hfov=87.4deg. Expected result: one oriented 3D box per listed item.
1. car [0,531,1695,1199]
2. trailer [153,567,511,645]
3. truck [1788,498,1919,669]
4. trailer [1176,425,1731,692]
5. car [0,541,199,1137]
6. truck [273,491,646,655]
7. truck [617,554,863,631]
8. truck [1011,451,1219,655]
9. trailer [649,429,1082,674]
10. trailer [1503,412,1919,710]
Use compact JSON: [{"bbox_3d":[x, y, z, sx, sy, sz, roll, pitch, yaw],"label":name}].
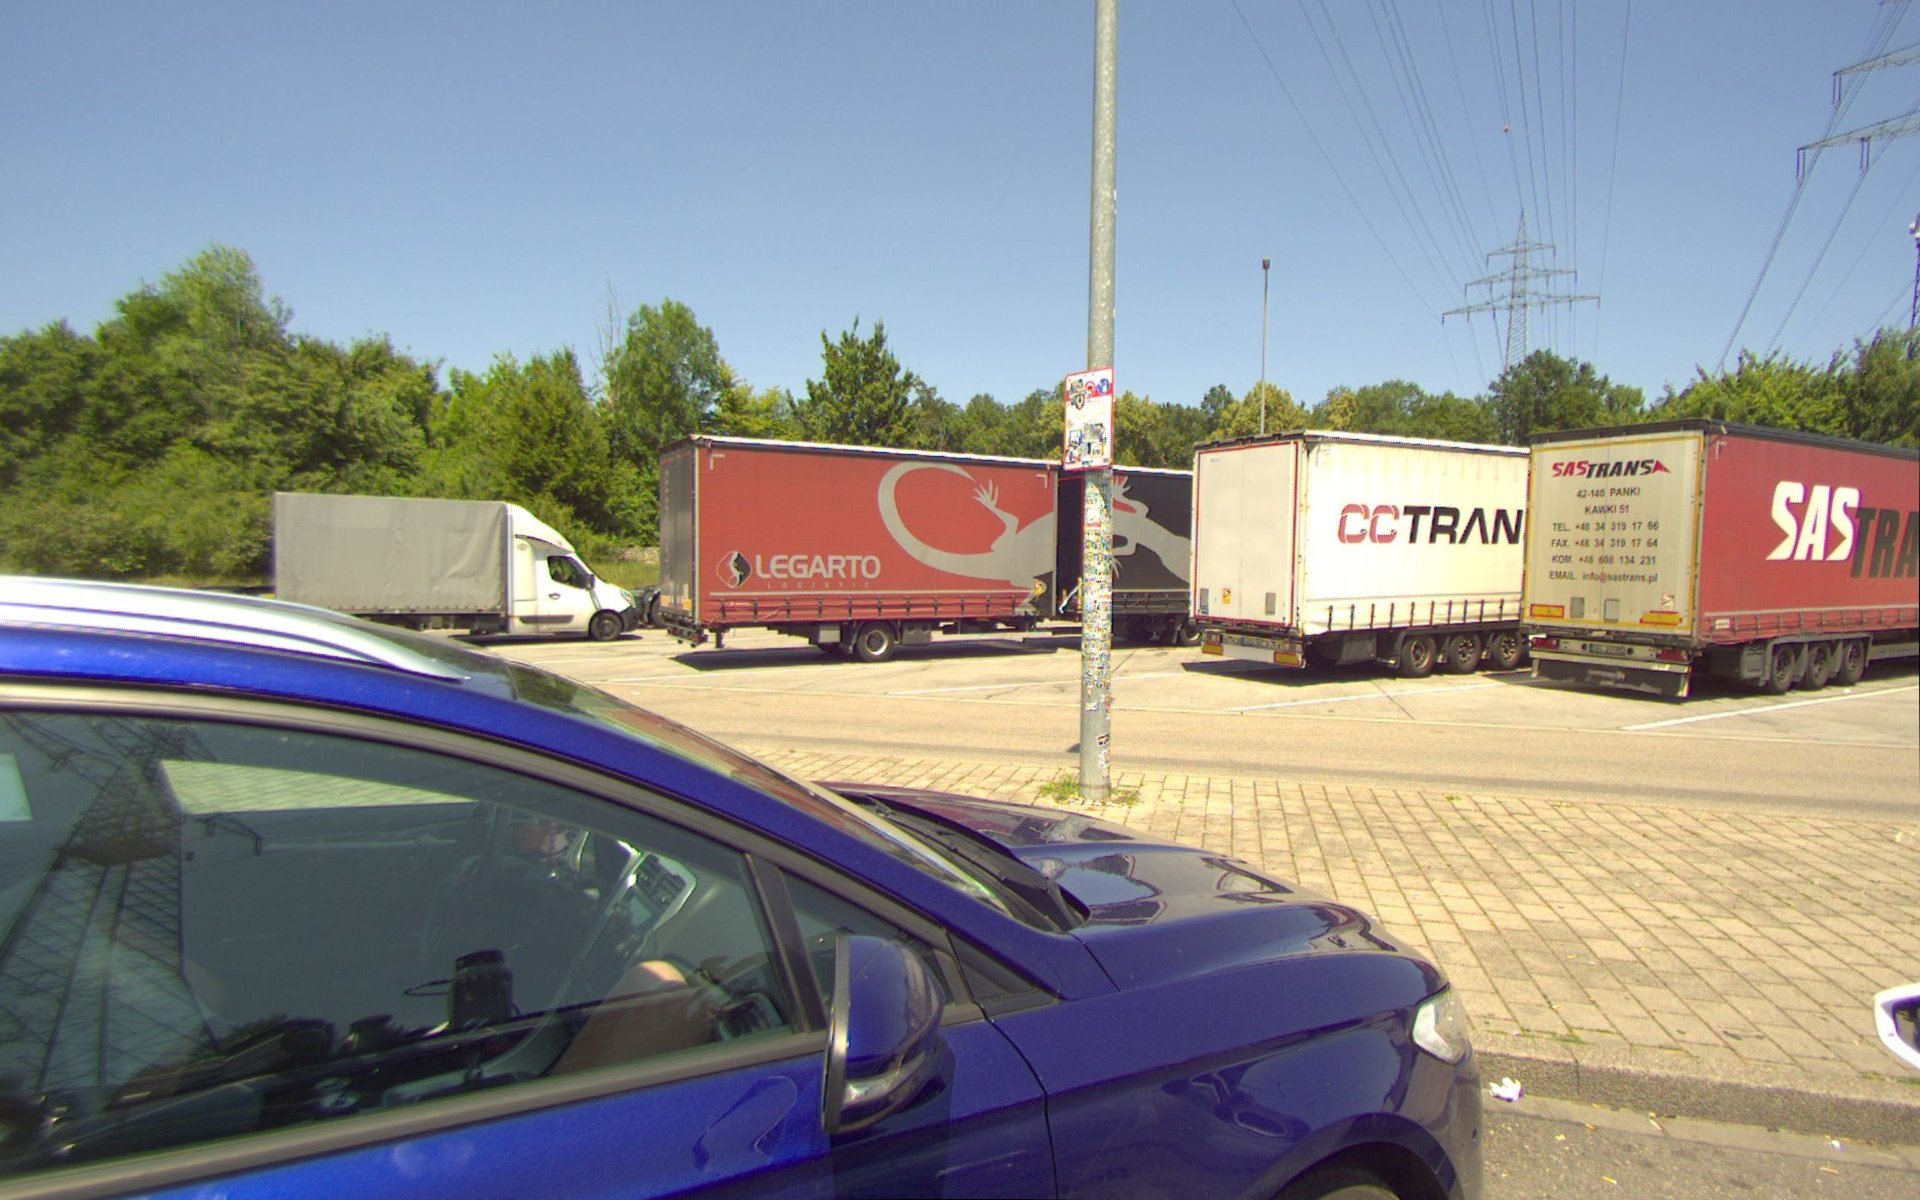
[{"bbox_3d":[-1.019,0.675,1.497,4.444,1.511,1.859,0,2,-32],"label":"car"},{"bbox_3d":[-15.149,0.048,24.896,7.204,1.711,2.249,-1,3,-29],"label":"trailer"},{"bbox_3d":[21.225,-0.401,22.007,5.829,3.373,2.837,-1,3,-30],"label":"truck"},{"bbox_3d":[10.602,-0.808,20.340,13.962,4.141,2.782,-1,3,-30],"label":"trailer"},{"bbox_3d":[-4.595,0.597,2.229,4.444,1.520,1.762,0,2,-32],"label":"car"},{"bbox_3d":[-11.174,-0.633,23.027,7.204,3.279,2.727,-1,3,-29],"label":"truck"},{"bbox_3d":[-6.332,-0.239,29.277,6.733,2.041,1.987,-1,1,-26],"label":"truck"},{"bbox_3d":[3.585,-1.074,23.453,3.947,4.298,2.723,-1,3,-30],"label":"truck"},{"bbox_3d":[-1.727,-0.908,20.332,8.376,4.141,2.722,-1,3,-30],"label":"trailer"},{"bbox_3d":[15.622,-0.700,18.730,13.962,4.141,2.777,-1,3,-30],"label":"trailer"}]
